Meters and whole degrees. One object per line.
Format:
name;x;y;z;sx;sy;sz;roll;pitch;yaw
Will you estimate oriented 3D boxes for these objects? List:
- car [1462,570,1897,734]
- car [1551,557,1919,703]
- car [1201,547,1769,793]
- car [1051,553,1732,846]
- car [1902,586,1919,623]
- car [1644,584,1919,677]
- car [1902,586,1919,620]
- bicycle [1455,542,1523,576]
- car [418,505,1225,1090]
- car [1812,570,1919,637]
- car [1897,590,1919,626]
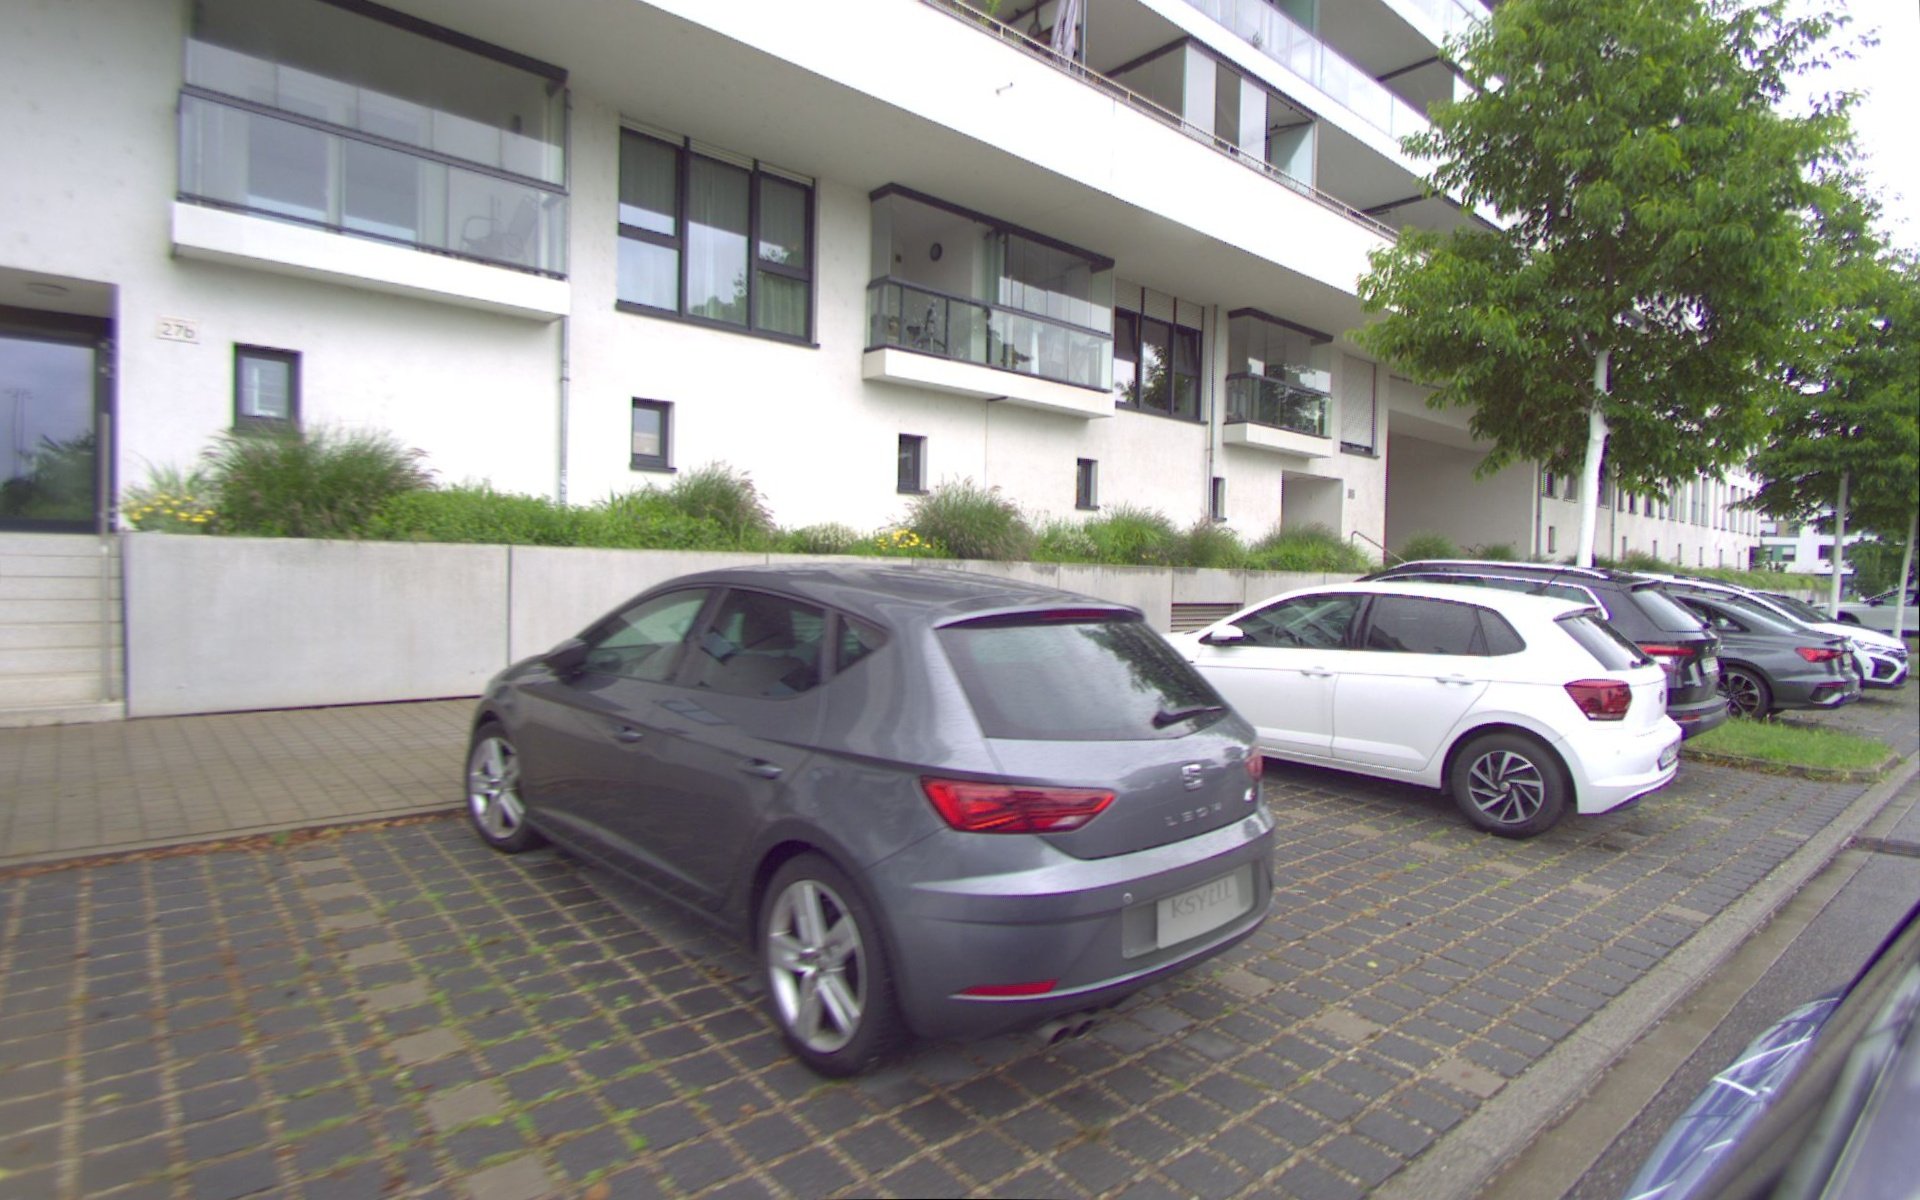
car;8.558;0.495;12.329;1.654;1.528;3.996;1;3;-41
car;11.970;0.331;15.604;1.902;1.707;4.485;1;4;-42
car;4.523;0.399;9.212;1.866;1.644;4.168;0;3;-43
car;2.820;0.447;7.454;1.609;1.445;4.306;0;3;-42
car;42.883;0.308;42.947;1.606;1.574;3.997;0;4;-40
car;15.546;0.493;19.160;1.905;1.514;3.991;0;1;-44
car;44.777;0.250;44.666;1.662;1.499;4.498;0;4;-40
bicycle;17.641;-1.348;33.798;0.711;1.068;1.898;0;0;-41
car;-1.006;0.394;4.636;1.604;1.517;4.036;0;3;-43
car;28.082;0.174;29.590;1.854;1.704;4.549;-1;7;-43
car;40.941;0.341;41.226;1.565;1.493;3.961;0;1;-42
